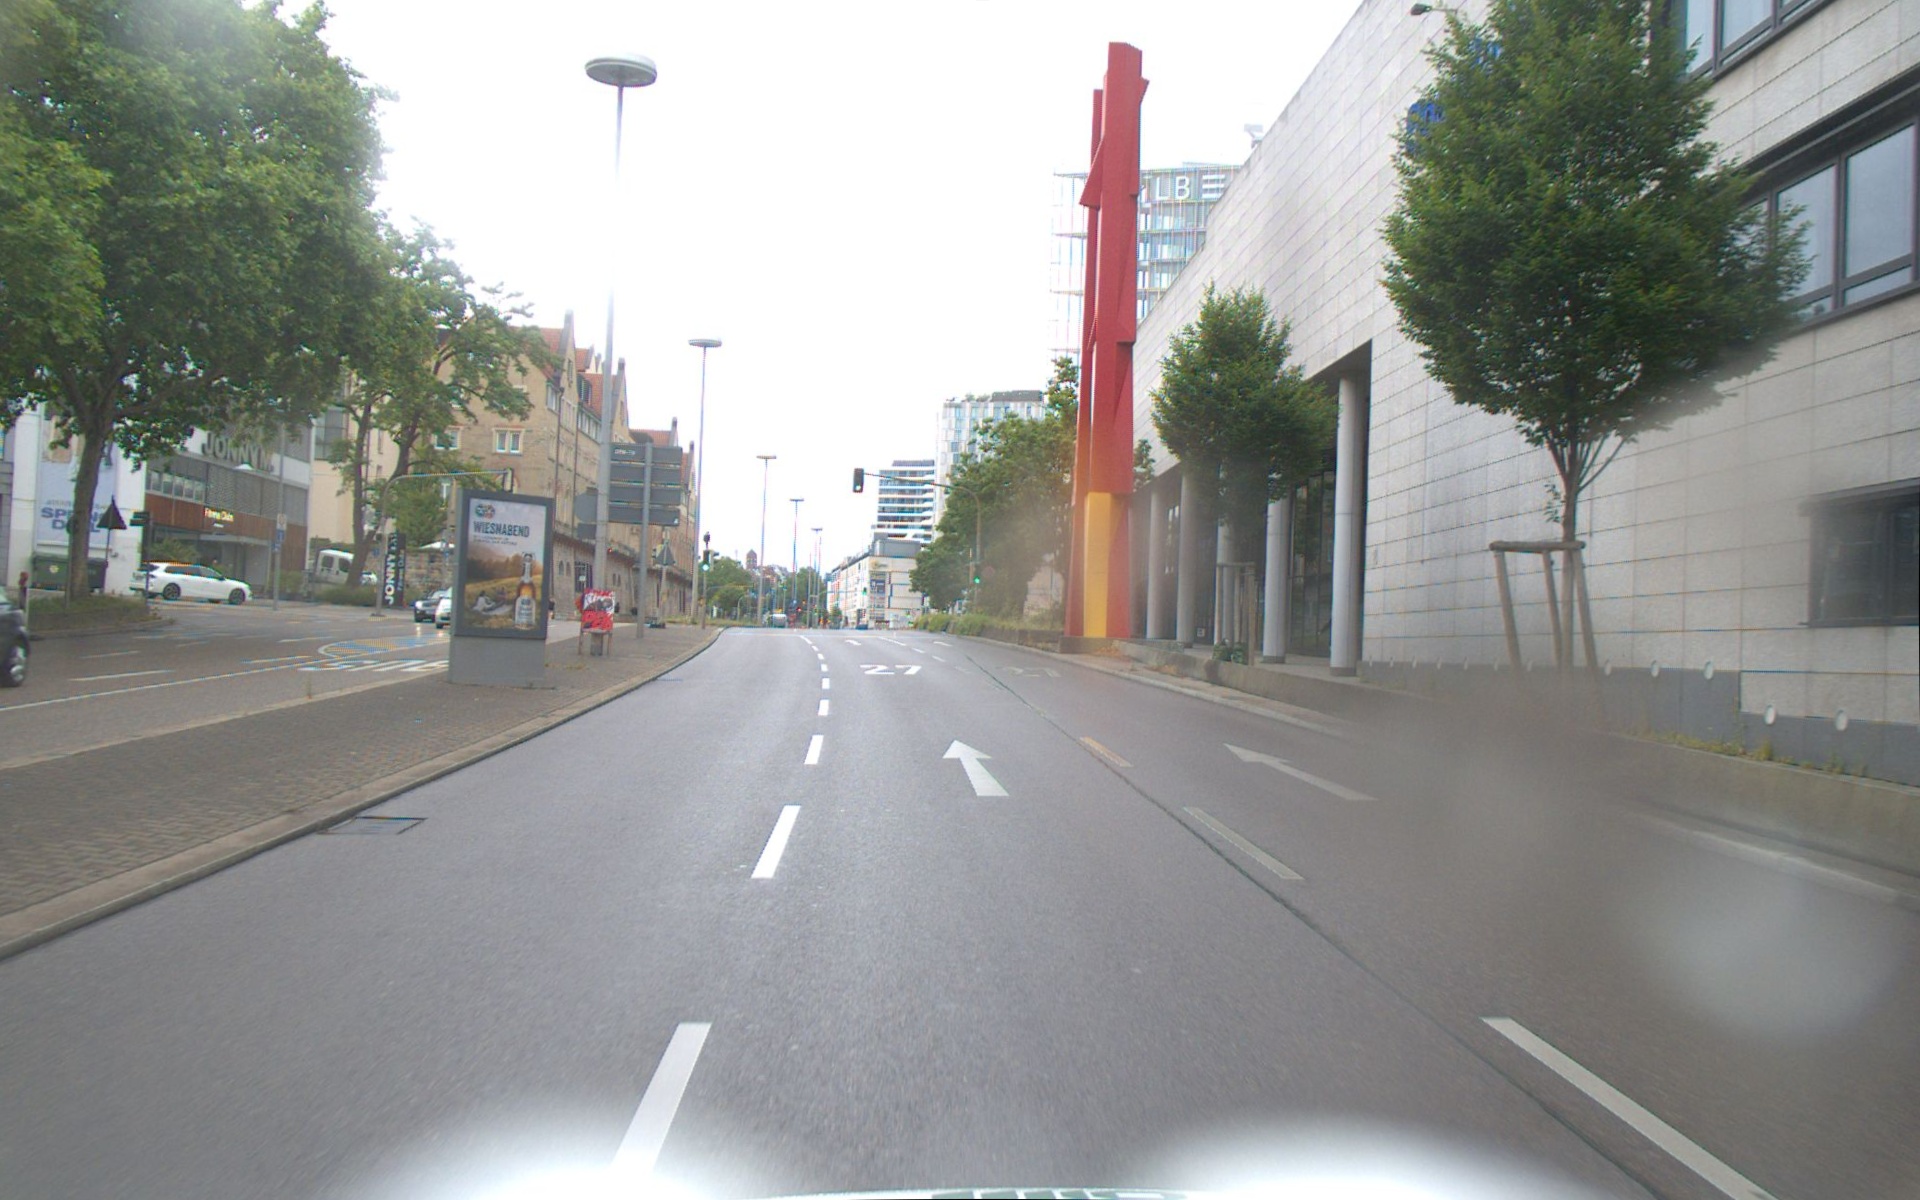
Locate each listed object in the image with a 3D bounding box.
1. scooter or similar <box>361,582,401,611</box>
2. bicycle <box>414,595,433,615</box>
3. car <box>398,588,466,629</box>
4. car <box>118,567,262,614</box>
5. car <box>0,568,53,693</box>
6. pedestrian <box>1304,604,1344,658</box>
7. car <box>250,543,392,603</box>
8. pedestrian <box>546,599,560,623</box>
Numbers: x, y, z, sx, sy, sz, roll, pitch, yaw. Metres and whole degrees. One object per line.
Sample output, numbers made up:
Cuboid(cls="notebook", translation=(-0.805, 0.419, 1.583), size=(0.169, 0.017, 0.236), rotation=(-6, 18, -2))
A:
Cuboid(cls="scooter or similar", translation=(-28.348, -0.172, 80.944), size=(1.733, 1.269, 0.366), rotation=(6, -3, -33))
Cuboid(cls="bicycle", translation=(-27.742, 0.273, 85.602), size=(0.447, 1.009, 1.757), rotation=(2, -1, -3))
Cuboid(cls="car", translation=(-20.815, 0.310, 65.318), size=(1.720, 1.545, 4.165), rotation=(1, 0, -6))
Cuboid(cls="car", translation=(-30.488, -0.370, 65.632), size=(1.960, 1.682, 4.825), rotation=(3, 1, 35))
Cuboid(cls="car", translation=(-12.609, 0.375, 19.705), size=(1.898, 1.526, 4.163), rotation=(1, 1, -10))
Cuboid(cls="pedestrian", translation=(10.927, 0.920, 49.647), size=(0.951, 1.614, 0.841), rotation=(1, 0, -7))
Cuboid(cls="car", translation=(-35.872, -1.544, 92.997), size=(6.769, 2.313, 2.514), rotation=(9, 2, -2))
Cuboid(cls="pedestrian", translation=(-26.409, 0.708, 107.393), size=(0.739, 1.504, 0.713), rotation=(1, 0, -3))
